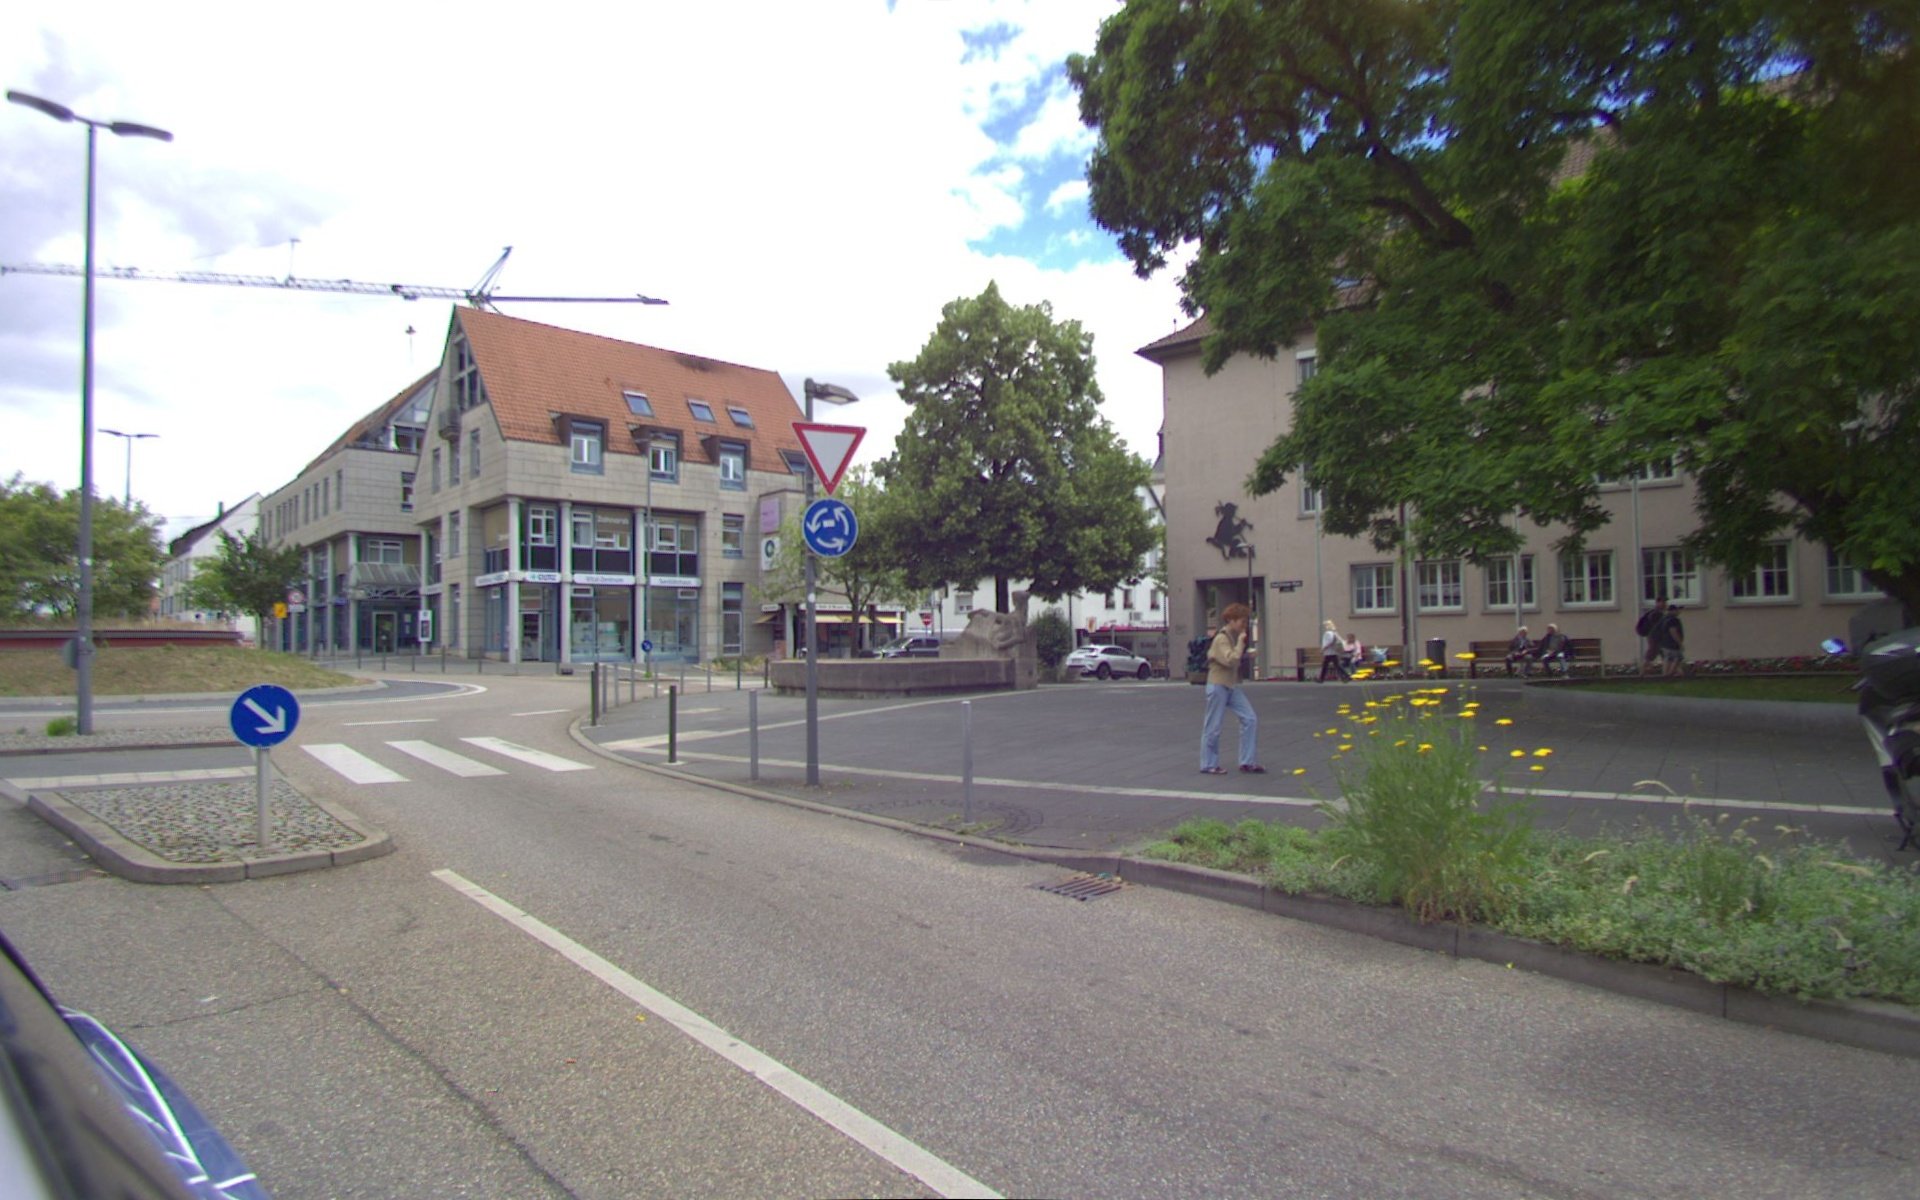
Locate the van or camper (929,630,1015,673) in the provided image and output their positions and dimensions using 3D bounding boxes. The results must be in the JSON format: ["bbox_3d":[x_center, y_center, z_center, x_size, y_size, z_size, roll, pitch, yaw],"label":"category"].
[{"bbox_3d":[0.719,3.009,59.198,4.637,2.401,1.988,-1,-2,19],"label":"van or camper"}]

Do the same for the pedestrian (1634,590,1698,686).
[{"bbox_3d":[14.125,0.763,20.262,0.878,1.864,0.652,-4,-4,43],"label":"pedestrian"}]

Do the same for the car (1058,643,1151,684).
[{"bbox_3d":[6.266,2.718,43.675,4.011,1.551,1.749,0,-1,-40],"label":"car"}]

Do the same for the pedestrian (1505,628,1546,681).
[{"bbox_3d":[13.575,1.298,24.308,0.690,1.235,0.807,-4,-3,38],"label":"pedestrian"}]

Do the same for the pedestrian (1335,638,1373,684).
[{"bbox_3d":[10.434,1.610,26.800,0.690,1.184,0.807,-4,-3,38],"label":"pedestrian"}]

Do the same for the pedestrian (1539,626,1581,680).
[{"bbox_3d":[14.135,1.256,23.841,0.690,1.235,0.807,-4,-3,38],"label":"pedestrian"}]

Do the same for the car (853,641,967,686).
[{"bbox_3d":[-2.106,2.683,43.338,4.814,1.666,1.750,0,-1,-40],"label":"car"}]

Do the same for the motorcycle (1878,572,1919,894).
[{"bbox_3d":[5.245,0.634,5.251,0.648,1.461,2.166,-1,-2,41],"label":"motorcycle"}]

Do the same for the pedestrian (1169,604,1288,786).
[{"bbox_3d":[2.545,0.875,9.626,0.651,1.641,0.801,0,-4,-40],"label":"pedestrian"}]

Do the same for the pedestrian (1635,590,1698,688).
[{"bbox_3d":[13.742,0.758,19.679,0.829,1.864,0.652,-4,-4,43],"label":"pedestrian"}]

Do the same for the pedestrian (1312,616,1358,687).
[{"bbox_3d":[9.229,1.267,24.905,0.816,1.688,0.682,-4,-3,39],"label":"pedestrian"}]

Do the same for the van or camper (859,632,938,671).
[{"bbox_3d":[-3.872,3.229,63.940,4.637,2.401,1.988,-1,-2,19],"label":"van or camper"}]
